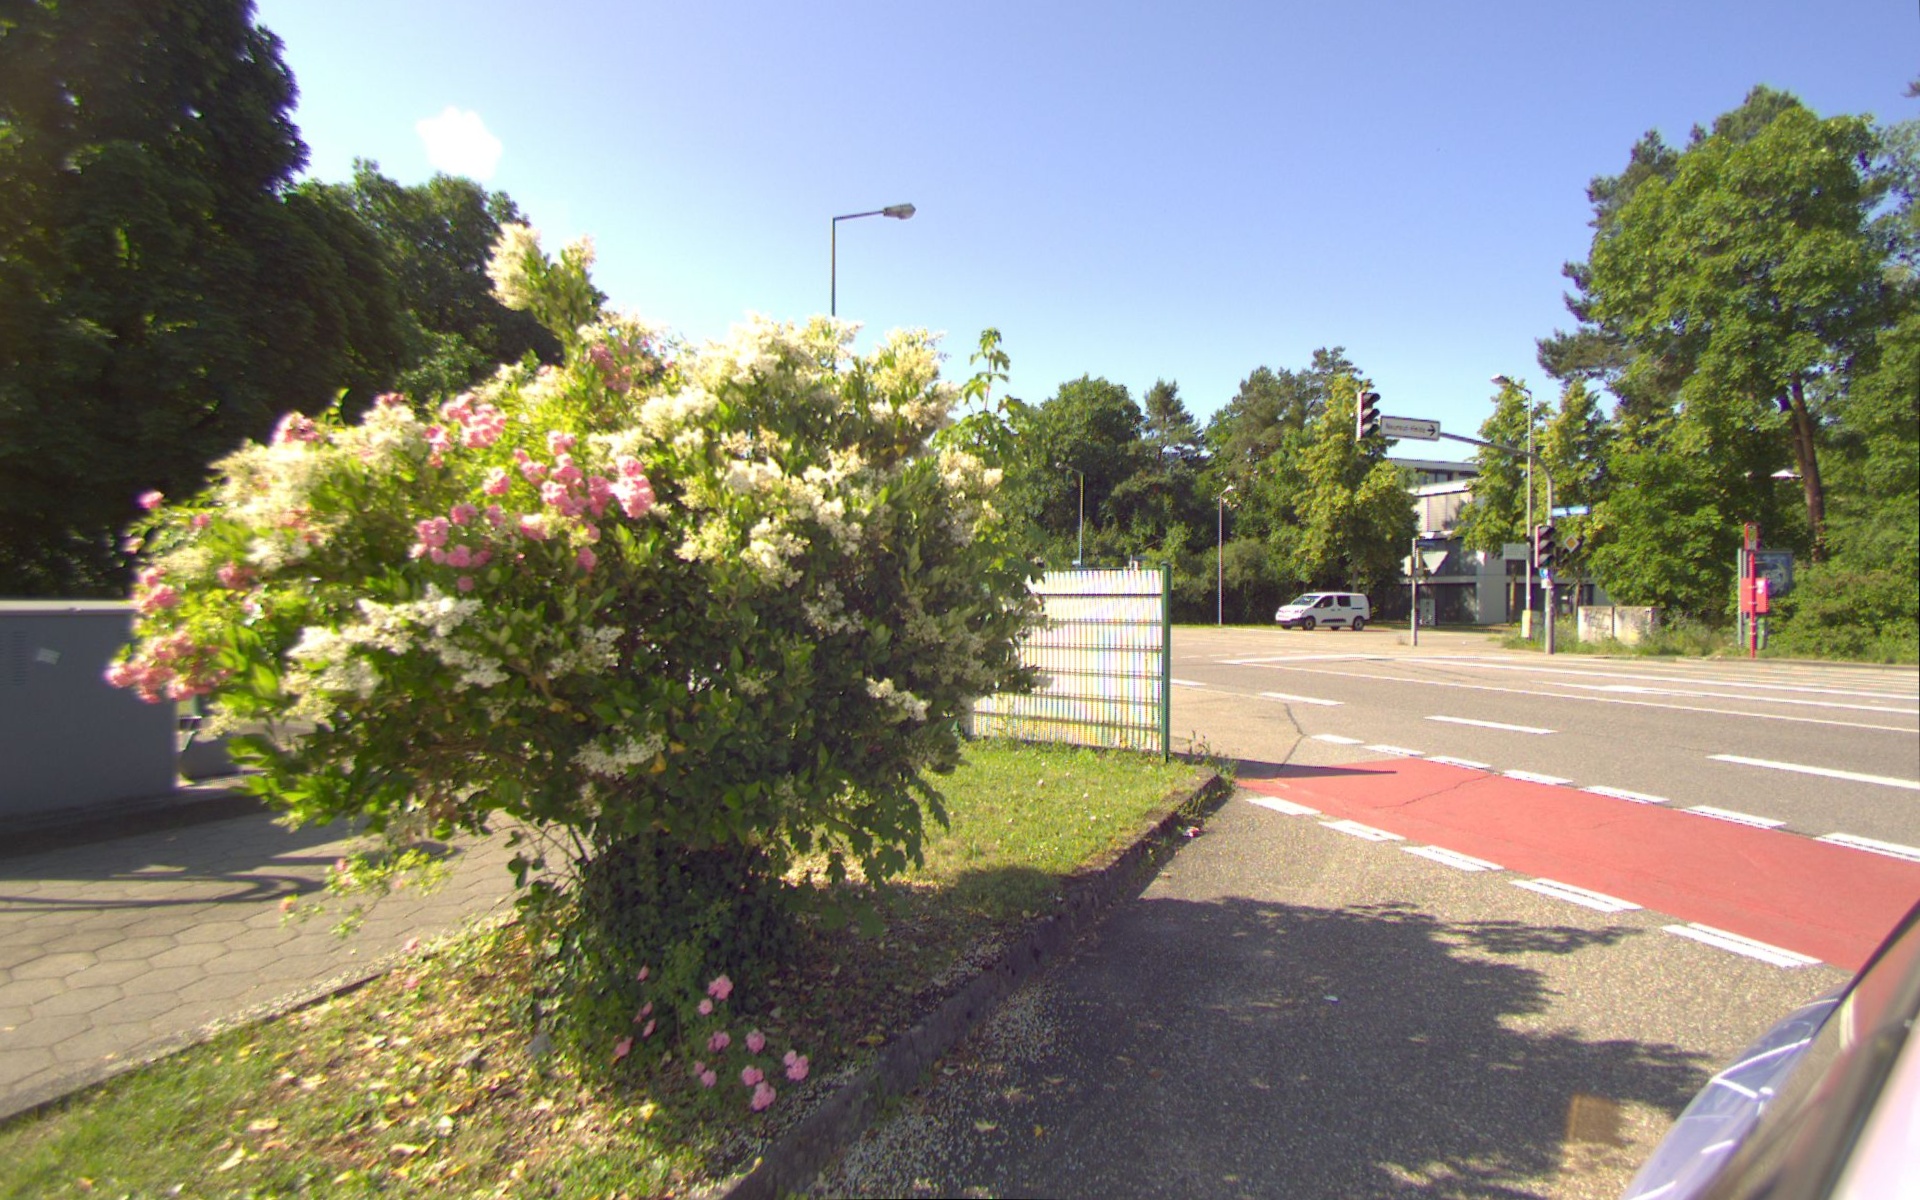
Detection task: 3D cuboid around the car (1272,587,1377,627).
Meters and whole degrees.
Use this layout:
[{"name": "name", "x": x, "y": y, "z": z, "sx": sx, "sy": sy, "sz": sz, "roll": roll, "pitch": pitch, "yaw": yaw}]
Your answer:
[{"name": "car", "x": 17.351, "y": 0.353, "z": 48.246, "sx": 4.563, "sy": 1.800, "sz": 1.856, "roll": 1, "pitch": 0, "yaw": -20}]
